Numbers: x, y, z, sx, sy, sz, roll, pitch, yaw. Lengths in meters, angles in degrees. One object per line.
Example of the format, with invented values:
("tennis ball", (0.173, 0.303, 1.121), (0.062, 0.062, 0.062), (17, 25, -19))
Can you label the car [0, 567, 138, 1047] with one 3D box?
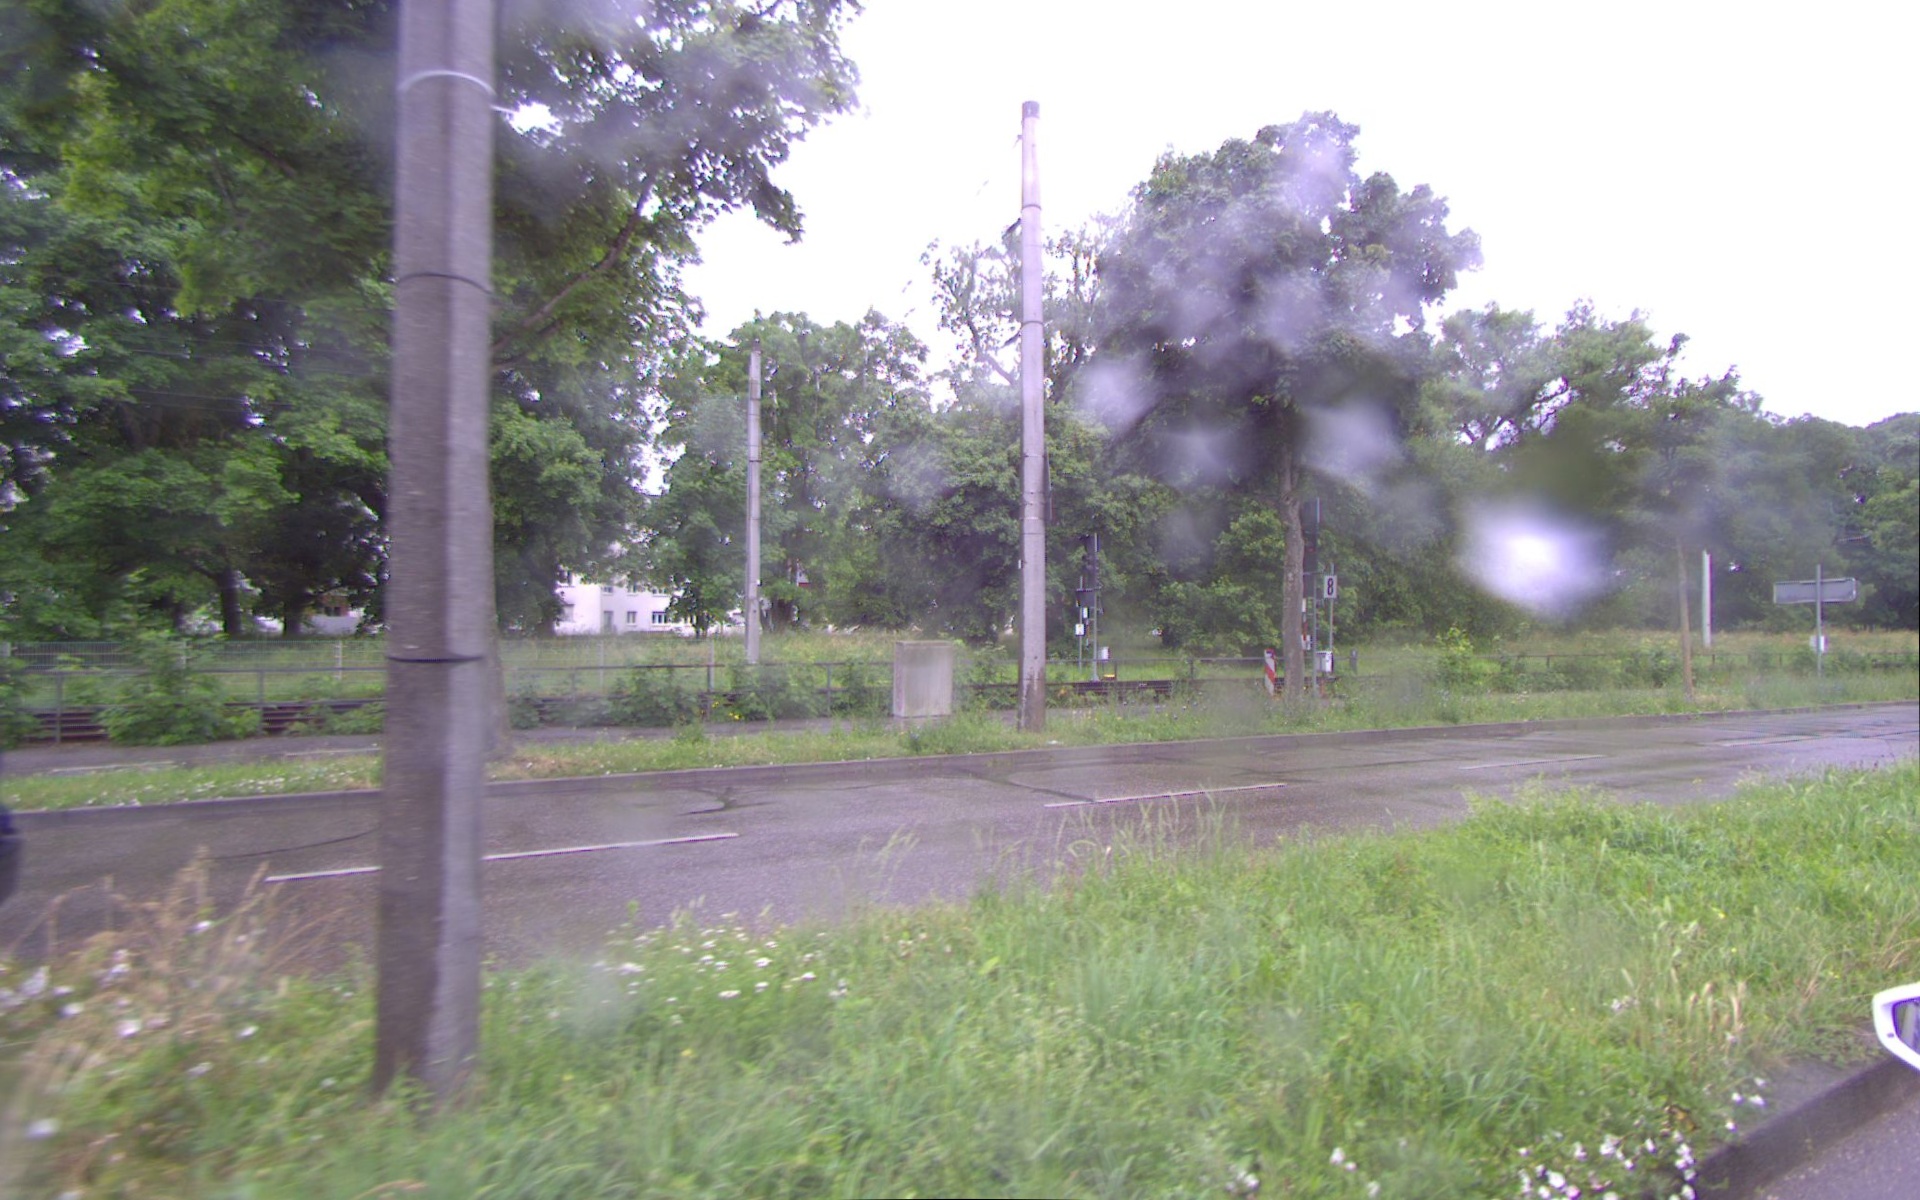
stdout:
("car", (-5.537, 0.729, 3.298), (4.085, 1.672, 1.736), (1, -3, -29))
